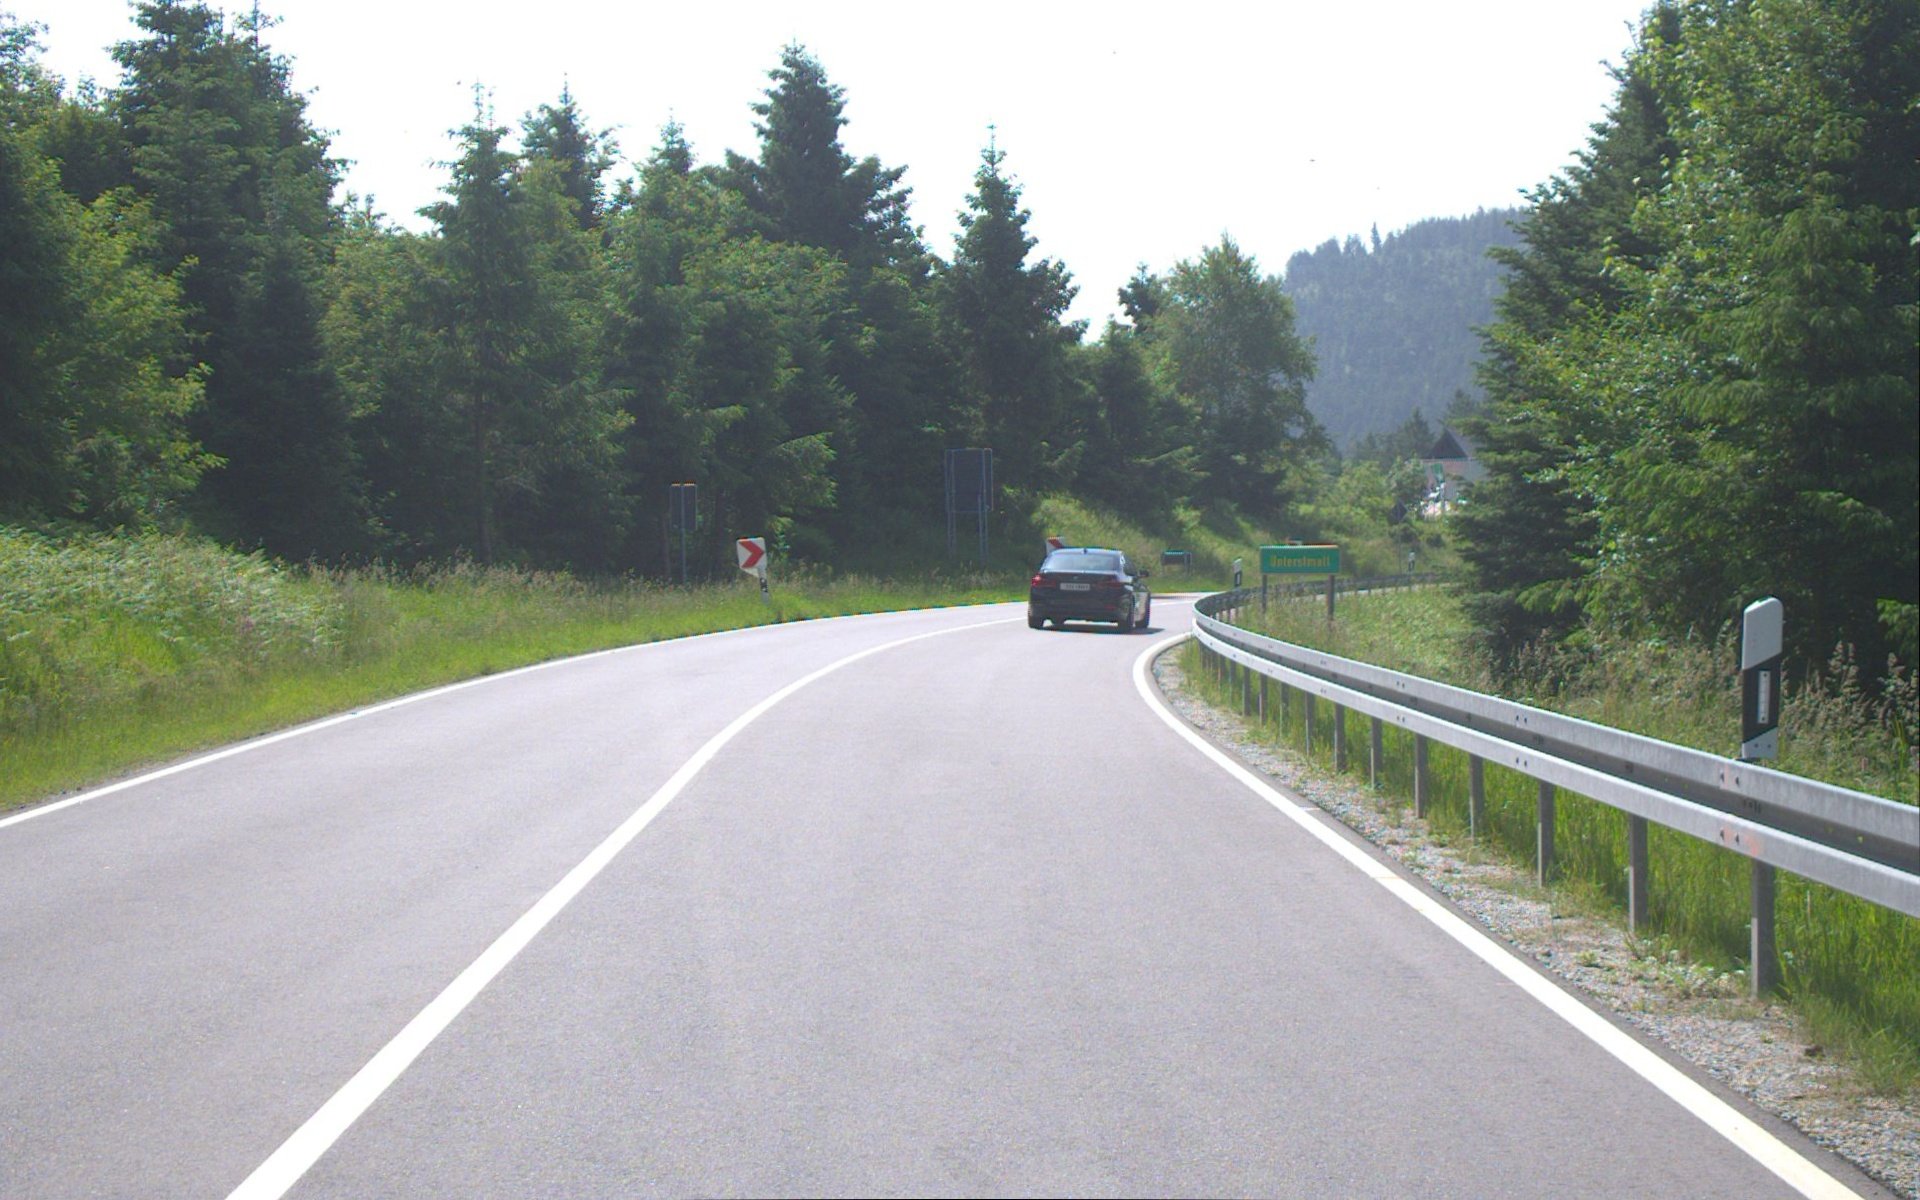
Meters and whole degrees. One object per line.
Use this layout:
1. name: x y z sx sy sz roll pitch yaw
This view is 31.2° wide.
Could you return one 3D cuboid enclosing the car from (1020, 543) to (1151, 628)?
1. car: 2.218 -0.240 60.047 1.776 1.437 3.707 0 0 10
